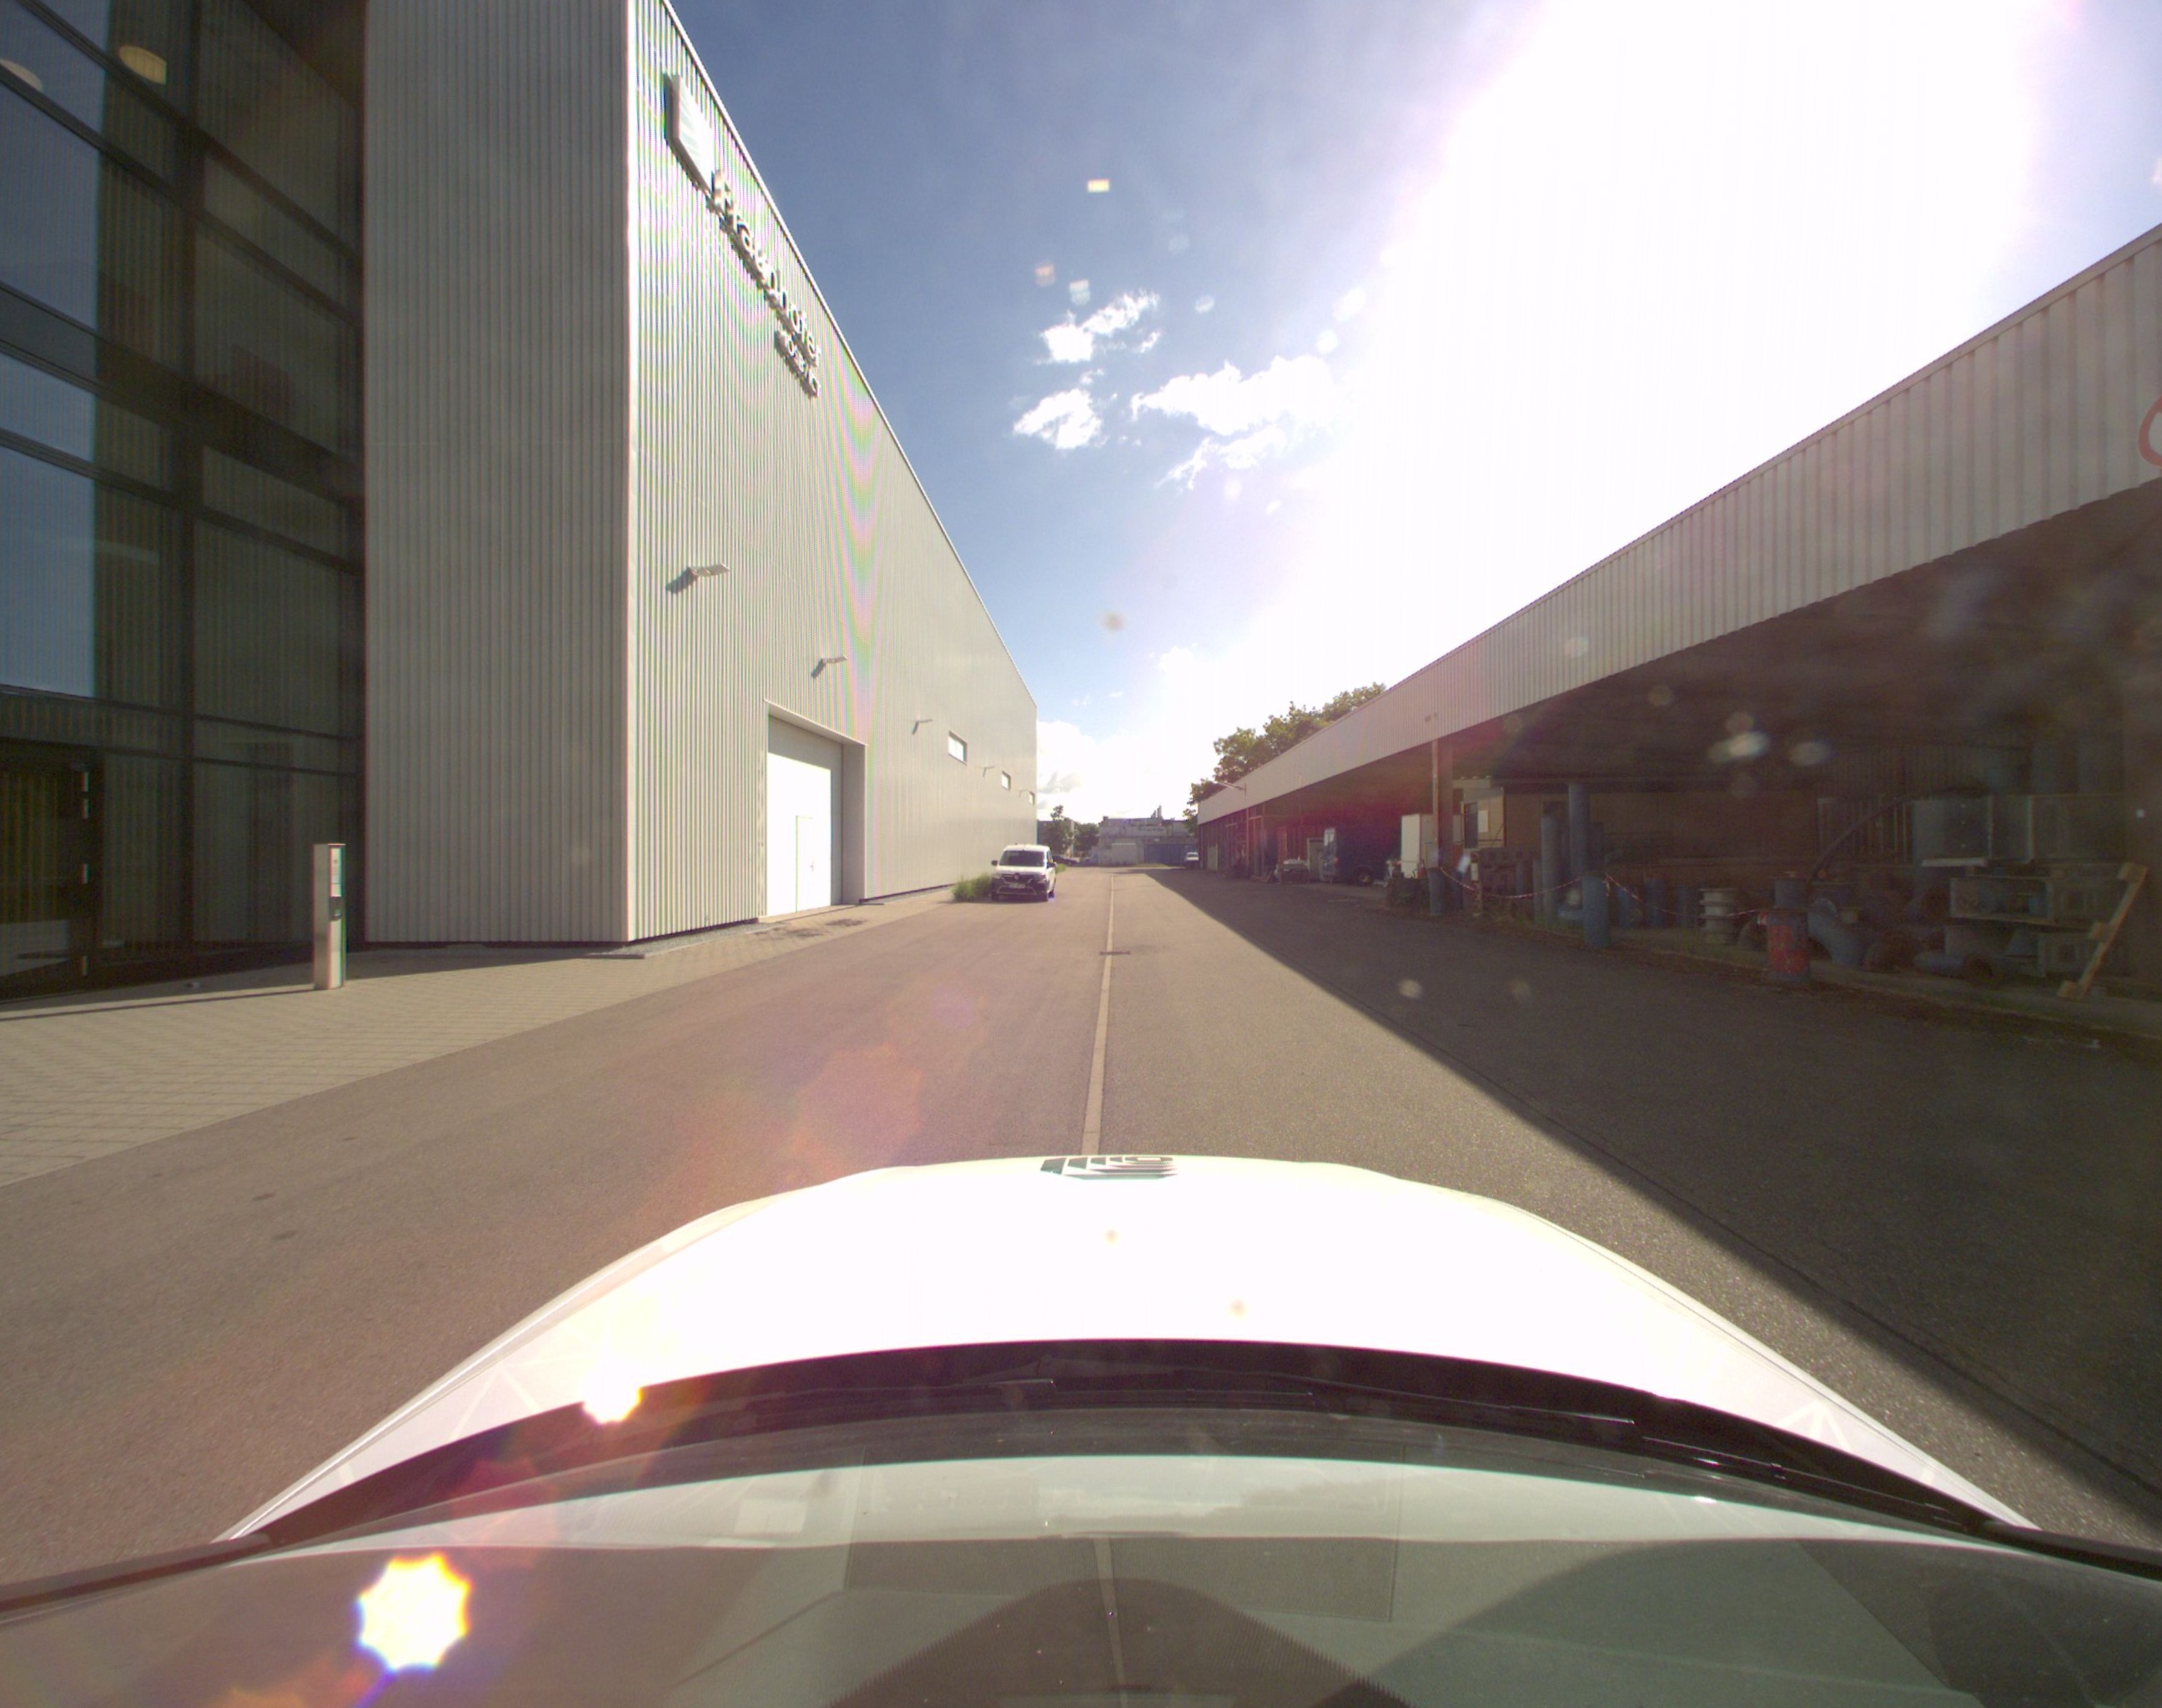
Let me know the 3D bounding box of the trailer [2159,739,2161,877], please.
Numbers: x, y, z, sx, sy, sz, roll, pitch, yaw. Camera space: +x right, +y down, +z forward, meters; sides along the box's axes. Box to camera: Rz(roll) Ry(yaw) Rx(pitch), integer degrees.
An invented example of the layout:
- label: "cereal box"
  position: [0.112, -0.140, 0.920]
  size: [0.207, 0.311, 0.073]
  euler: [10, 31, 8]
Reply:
- label: "trailer"
  position: [10.692, 0.128, 4.773]
  size: [5.742, 2.032, 2.079]
  euler: [-1, 0, 3]

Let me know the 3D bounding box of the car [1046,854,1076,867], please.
- label: "car"
  position: [-2.680, 0.841, 109.215]
  size: [3.973, 1.598, 1.741]
  euler: [1, -2, 1]

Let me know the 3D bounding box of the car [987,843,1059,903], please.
- label: "car"
  position: [-1.819, 0.552, 26.890]
  size: [1.811, 1.787, 4.408]
  euler: [1, 0, 3]

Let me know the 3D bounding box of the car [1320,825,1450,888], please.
- label: "car"
  position: [11.800, 0.116, 31.811]
  size: [4.414, 2.310, 1.917]
  euler: [1, -2, 3]

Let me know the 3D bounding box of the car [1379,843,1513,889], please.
- label: "car"
  position: [12.777, 0.438, 28.679]
  size: [4.021, 1.525, 1.685]
  euler: [1, -2, 3]

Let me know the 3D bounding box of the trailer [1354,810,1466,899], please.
- label: "trailer"
  position: [9.265, 0.025, 23.093]
  size: [2.513, 2.399, 1.728]
  euler: [0, -1, 3]

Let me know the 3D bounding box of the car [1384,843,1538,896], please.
- label: "car"
  position: [11.714, 0.497, 25.284]
  size: [4.021, 1.525, 1.685]
  euler: [1, -2, 3]

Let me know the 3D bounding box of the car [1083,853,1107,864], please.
- label: "car"
  position: [2.292, 0.756, 136.973]
  size: [3.973, 1.598, 1.848]
  euler: [1, -2, 1]

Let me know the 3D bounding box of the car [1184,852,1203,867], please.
- label: "car"
  position: [13.233, 0.632, 96.303]
  size: [1.953, 1.564, 4.064]
  euler: [1, 1, 4]
